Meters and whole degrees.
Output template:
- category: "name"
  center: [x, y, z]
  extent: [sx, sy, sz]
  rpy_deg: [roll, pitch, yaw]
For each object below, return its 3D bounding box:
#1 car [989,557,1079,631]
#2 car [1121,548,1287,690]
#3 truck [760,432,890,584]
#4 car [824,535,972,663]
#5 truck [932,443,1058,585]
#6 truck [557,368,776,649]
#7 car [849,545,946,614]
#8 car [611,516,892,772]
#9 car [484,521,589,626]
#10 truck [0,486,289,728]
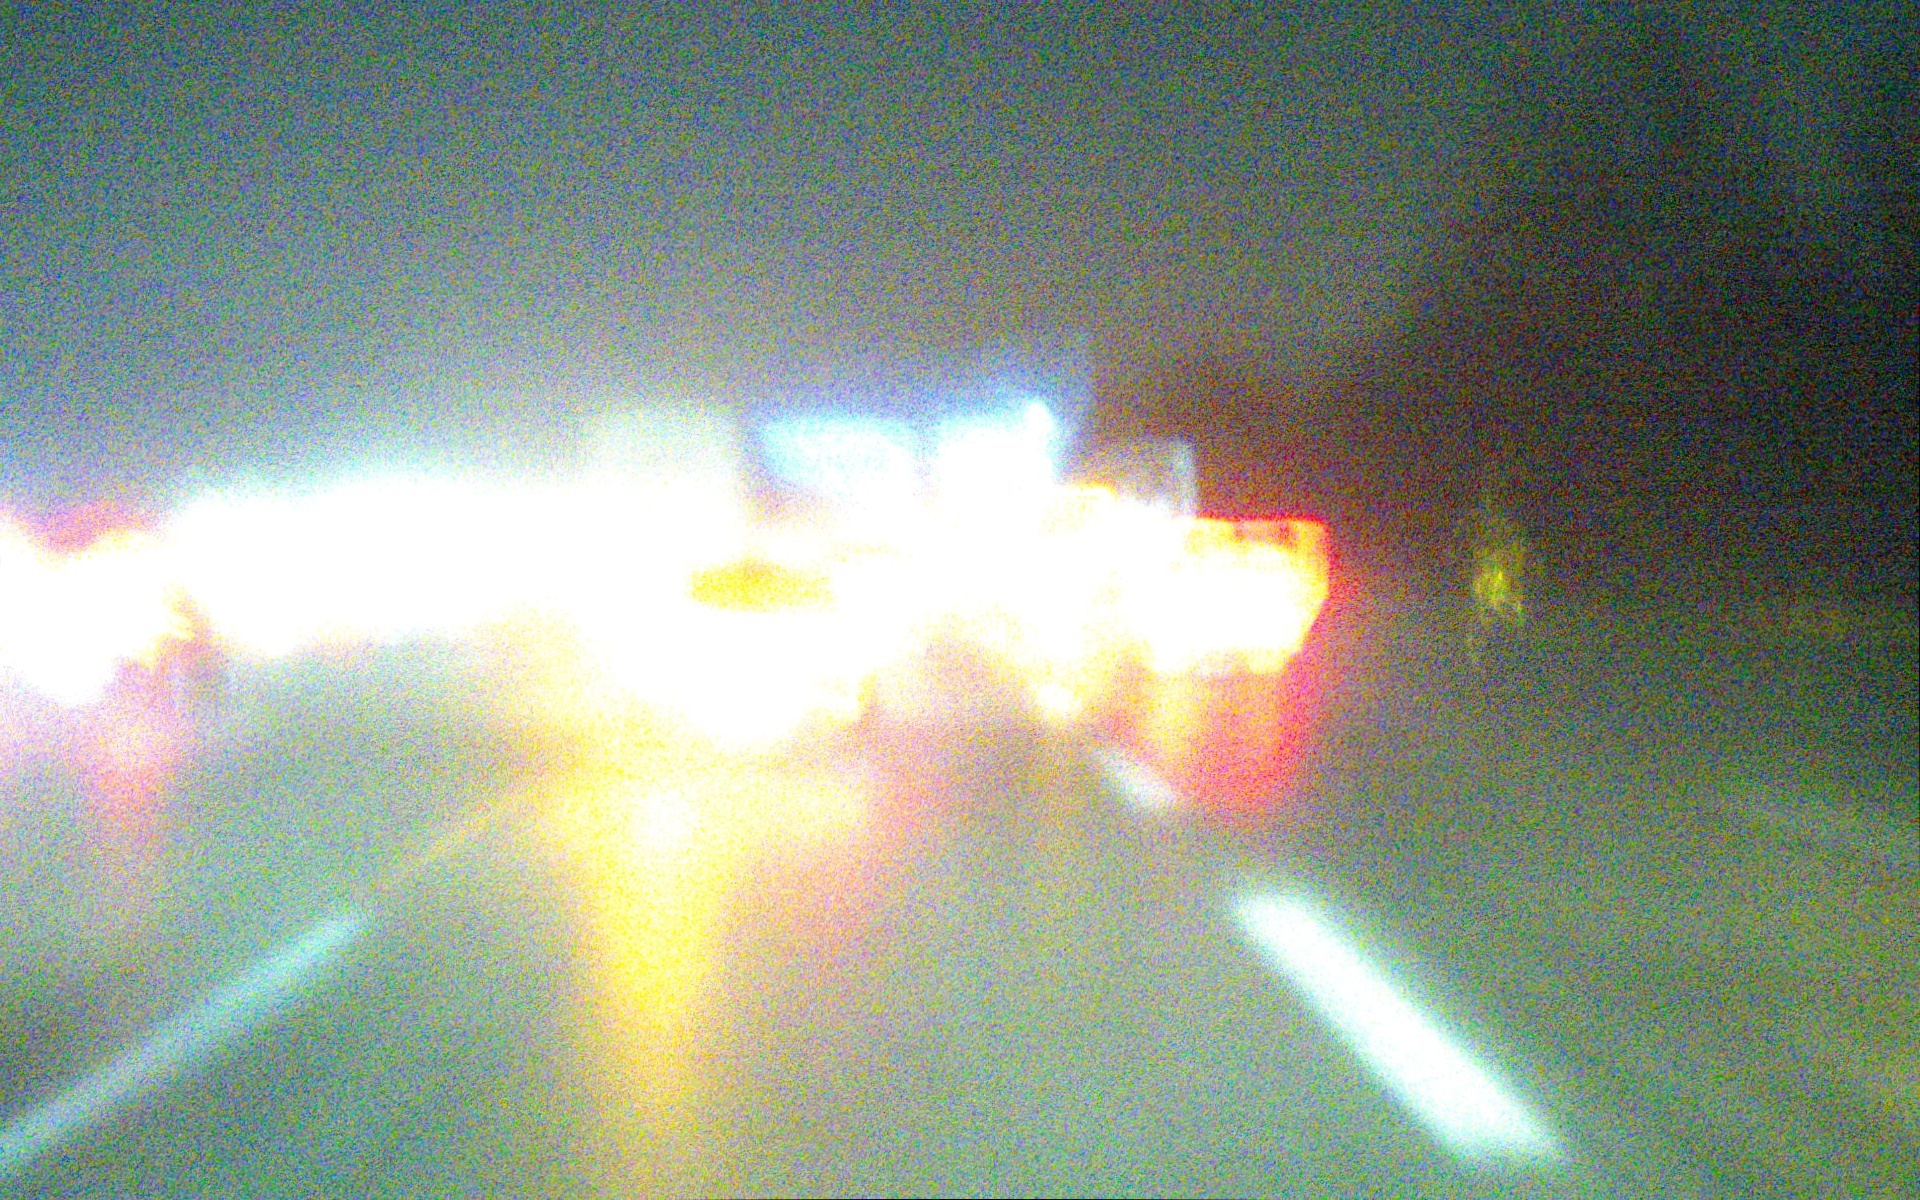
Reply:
- category: "car"
  center: [1.749, -0.155, 82.373]
  extent: [1.993, 1.698, 4.458]
  rpy_deg: [1, 0, 0]
- category: "car"
  center: [3.162, 0.226, 45.271]
  extent: [1.878, 1.756, 4.000]
  rpy_deg: [1, 0, 0]
- category: "truck"
  center: [-4.999, -3.368, 129.938]
  extent: [4.254, 5.425, 10.884]
  rpy_deg: [1, 0, 1]
- category: "car"
  center: [-0.889, -0.031, 50.005]
  extent: [2.039, 1.755, 4.516]
  rpy_deg: [1, 0, -1]
- category: "truck"
  center: [1.266, -3.247, 133.148]
  extent: [4.161, 5.197, 9.955]
  rpy_deg: [1, 0, -3]
- category: "truck"
  center: [-5.395, -1.595, 63.441]
  extent: [3.655, 4.721, 9.854]
  rpy_deg: [1, 0, -5]
- category: "car"
  center: [-1.856, -0.635, 104.342]
  extent: [2.833, 2.007, 5.510]
  rpy_deg: [1, 0, 0]
- category: "car"
  center: [-1.422, 0.248, 24.812]
  extent: [1.765, 1.683, 4.000]
  rpy_deg: [0, 1, 0]
- category: "car"
  center: [-9.619, -0.606, 78.121]
  extent: [2.263, 2.265, 5.387]
  rpy_deg: [1, 0, -7]
- category: "truck"
  center: [-8.595, 0.033, 34.514]
  extent: [2.857, 2.193, 5.859]
  rpy_deg: [1, 0, -3]
